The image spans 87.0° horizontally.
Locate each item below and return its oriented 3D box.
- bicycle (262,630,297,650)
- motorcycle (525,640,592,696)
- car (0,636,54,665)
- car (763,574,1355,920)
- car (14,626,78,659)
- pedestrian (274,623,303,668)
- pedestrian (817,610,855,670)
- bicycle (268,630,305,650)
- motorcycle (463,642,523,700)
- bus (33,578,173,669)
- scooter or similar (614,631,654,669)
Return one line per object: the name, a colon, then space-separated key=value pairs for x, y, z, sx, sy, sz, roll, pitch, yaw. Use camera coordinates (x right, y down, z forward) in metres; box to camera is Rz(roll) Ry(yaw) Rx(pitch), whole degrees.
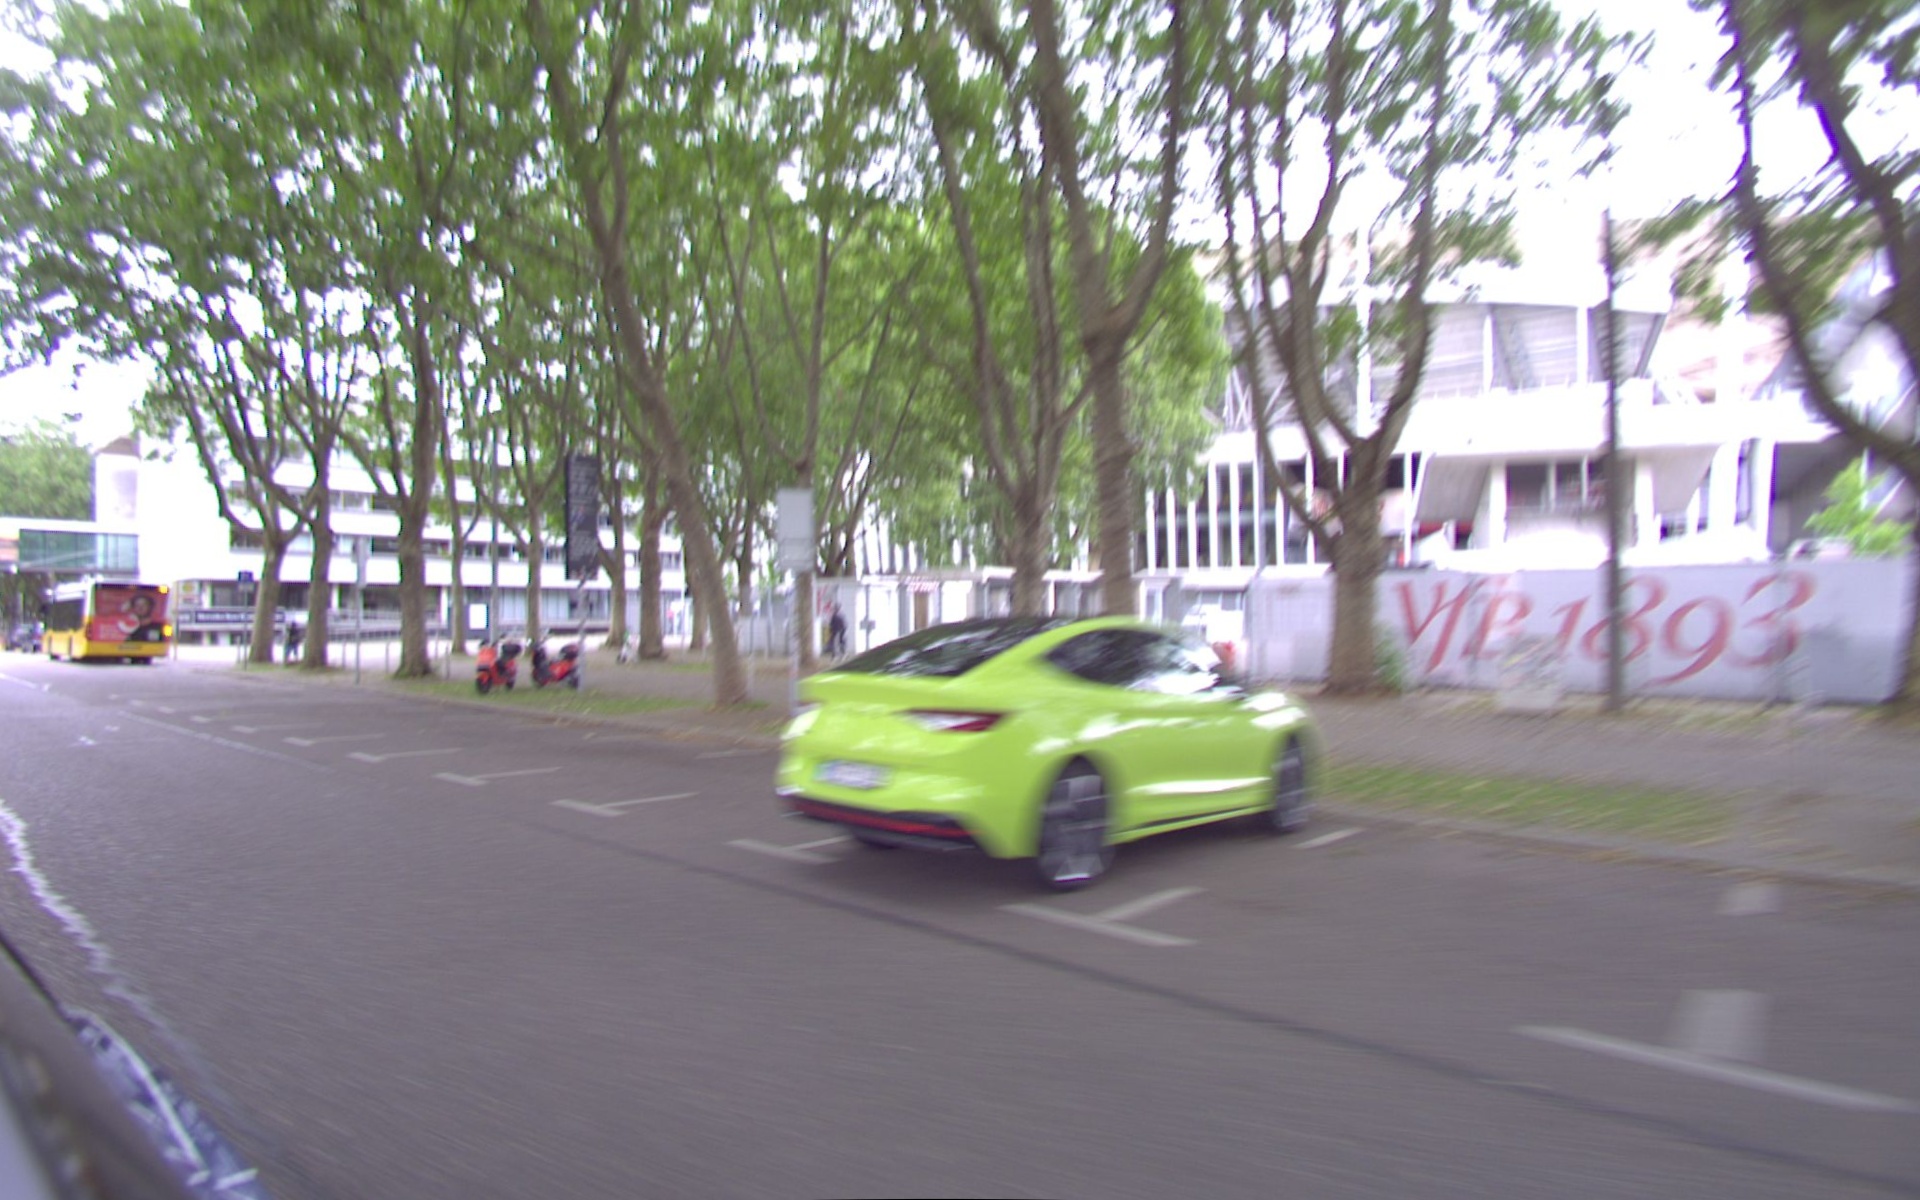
bicycle: x=-43.411 y=2.552 z=64.548 sx=0.470 sy=1.196 sz=1.808 roll=-1 pitch=-1 yaw=38
motorcycle: x=-9.043 y=1.502 z=22.743 sx=2.077 sy=1.167 sz=0.567 roll=-1 pitch=-1 yaw=43
car: x=-53.927 y=2.923 z=58.466 sx=4.007 sy=1.526 sz=1.735 roll=-1 pitch=-5 yaw=41
car: x=0.983 y=0.741 z=7.037 sx=1.758 sy=1.630 sz=4.467 roll=-2 pitch=-2 yaw=43
car: x=-47.575 y=2.182 z=52.662 sx=4.383 sy=1.578 sz=1.736 roll=-1 pitch=-6 yaw=40
pedestrian: x=-24.794 y=1.669 z=37.383 sx=0.912 sy=1.601 sz=0.655 roll=-1 pitch=-1 yaw=41
pedestrian: x=-3.739 y=1.183 z=30.497 sx=0.874 sy=1.767 sz=0.697 roll=-1 pitch=-1 yaw=40
bicycle: x=-42.483 y=2.533 z=63.842 sx=0.568 sy=1.196 sz=1.894 roll=-1 pitch=-1 yaw=38
motorcycle: x=-10.367 y=1.548 z=22.518 sx=0.566 sy=1.167 sz=2.080 roll=-1 pitch=0 yaw=-6
bus: x=-34.728 y=1.004 z=40.756 sx=12.367 sy=3.179 sz=2.623 roll=-1 pitch=-4 yaw=43
scooter or similar: x=-10.593 y=1.606 z=32.881 sx=1.169 sy=1.182 sz=0.445 roll=-1 pitch=-1 yaw=-44
